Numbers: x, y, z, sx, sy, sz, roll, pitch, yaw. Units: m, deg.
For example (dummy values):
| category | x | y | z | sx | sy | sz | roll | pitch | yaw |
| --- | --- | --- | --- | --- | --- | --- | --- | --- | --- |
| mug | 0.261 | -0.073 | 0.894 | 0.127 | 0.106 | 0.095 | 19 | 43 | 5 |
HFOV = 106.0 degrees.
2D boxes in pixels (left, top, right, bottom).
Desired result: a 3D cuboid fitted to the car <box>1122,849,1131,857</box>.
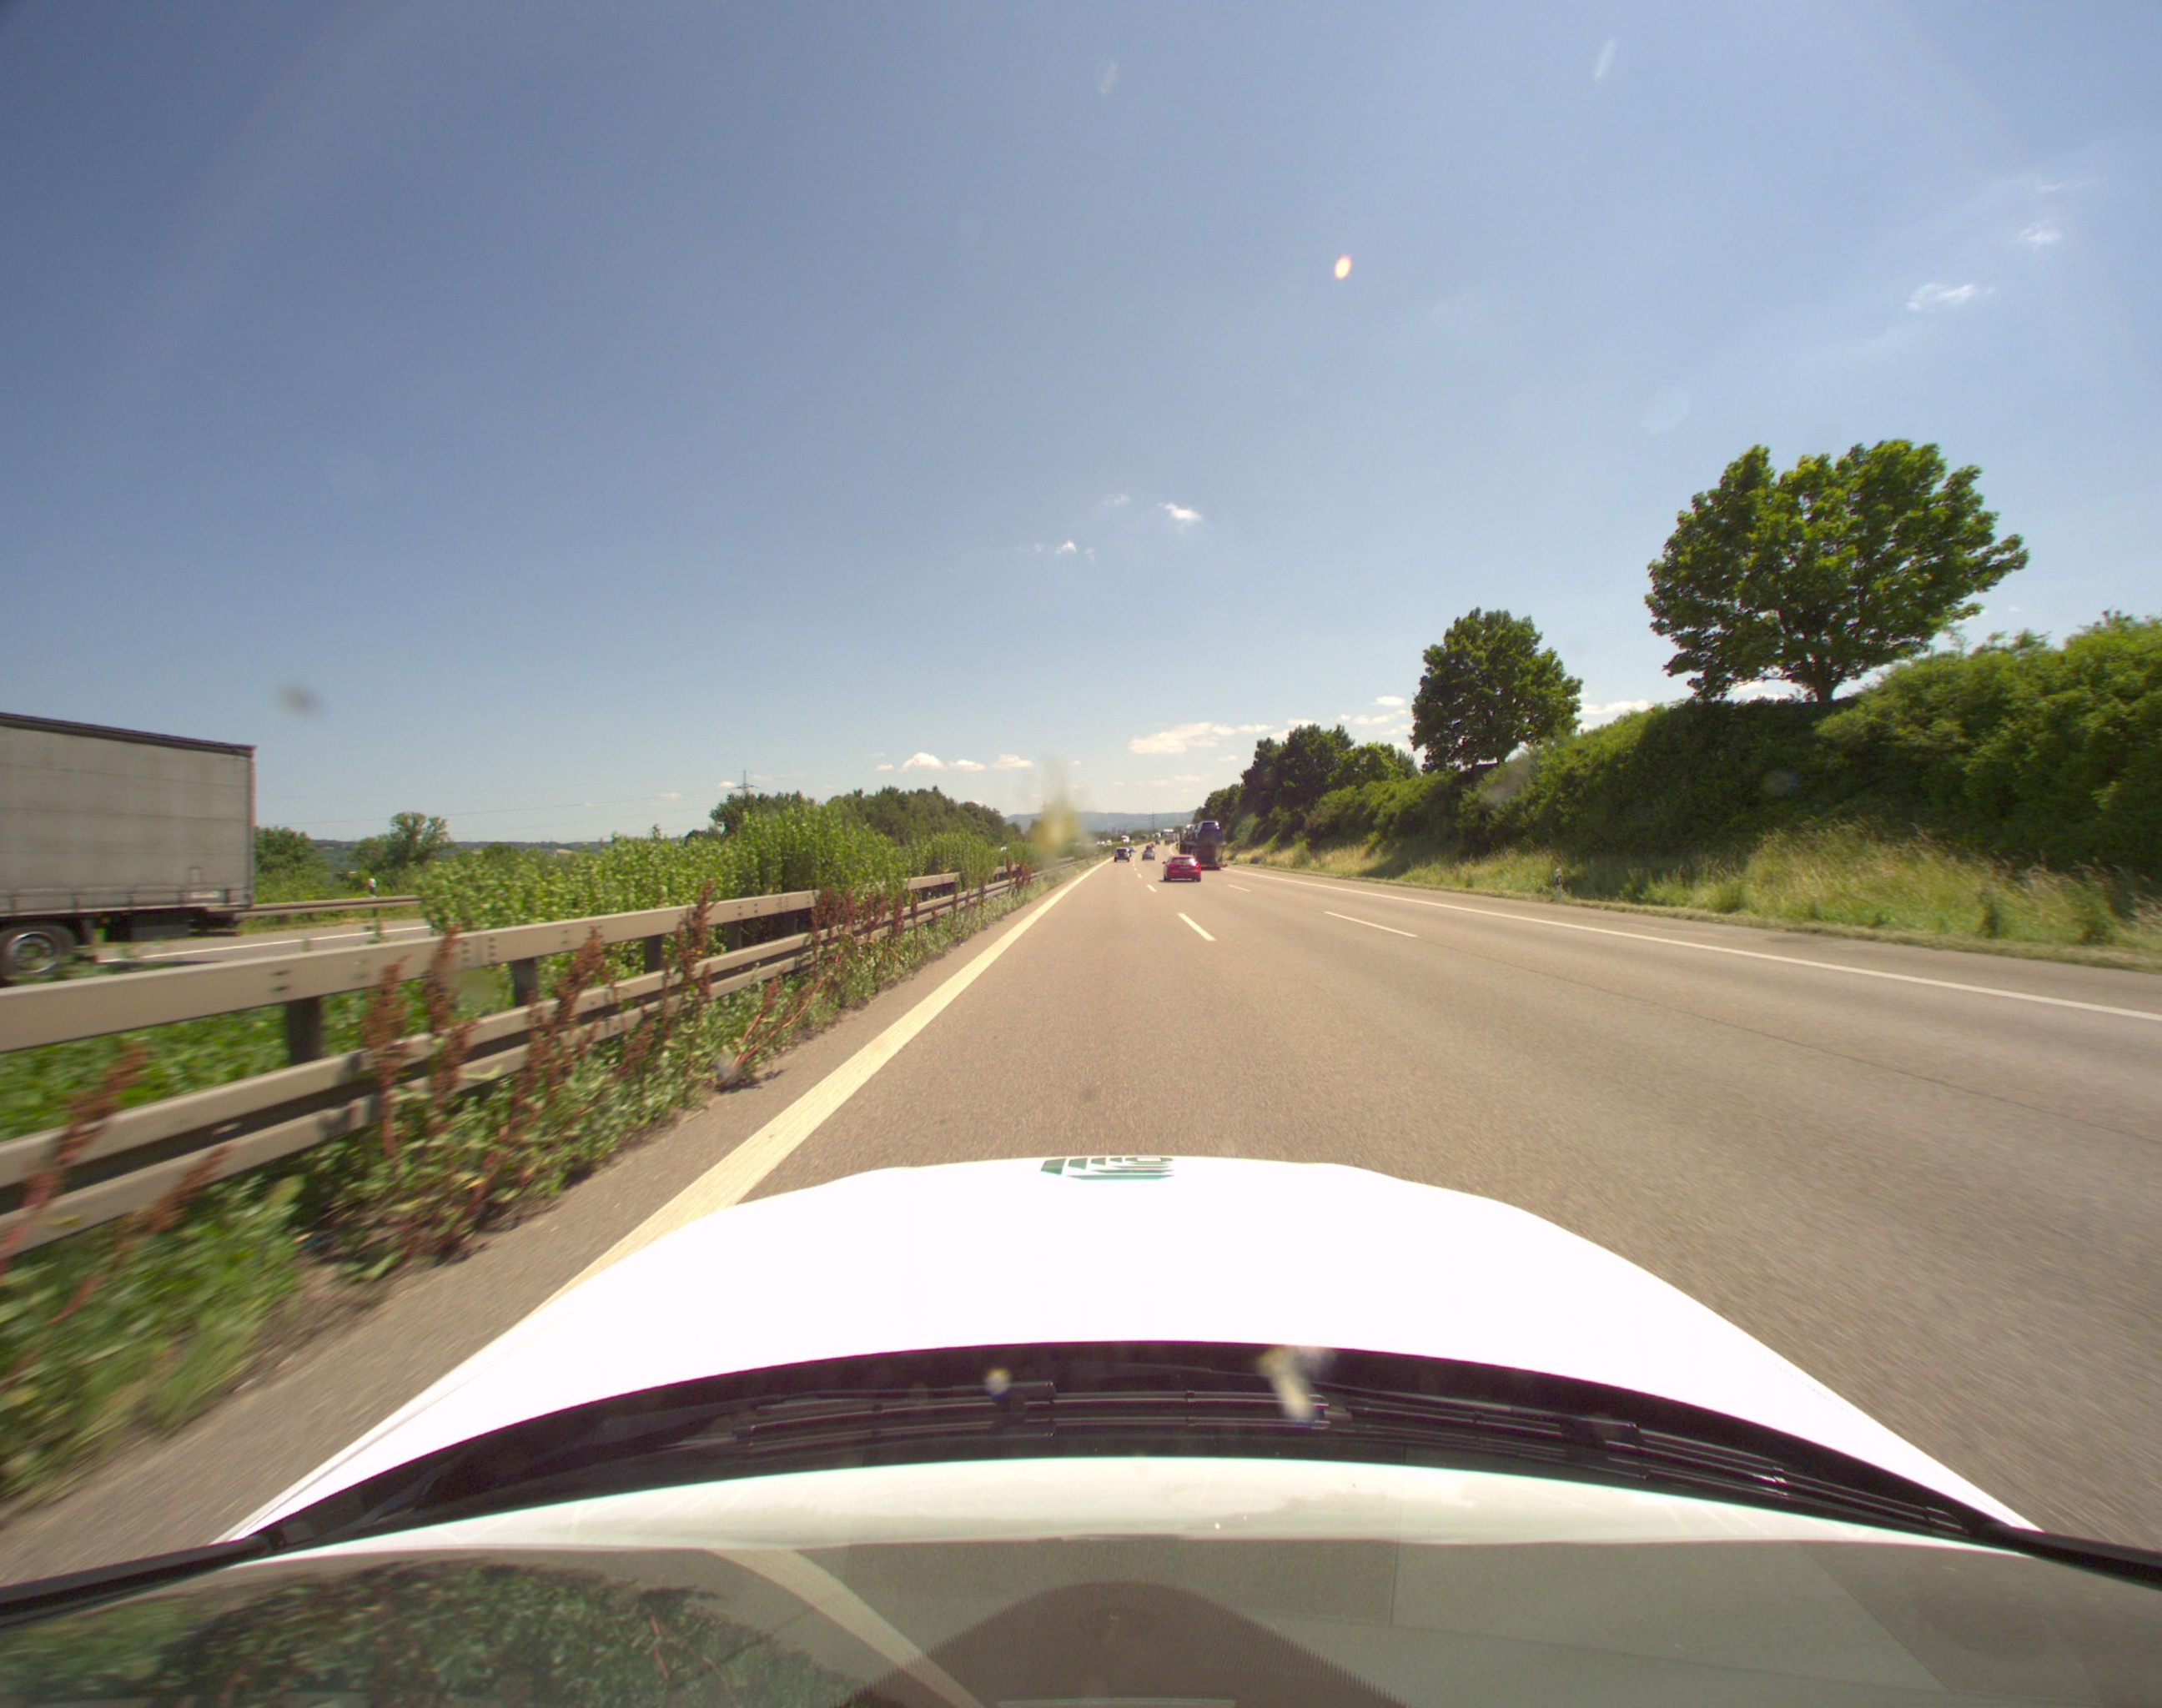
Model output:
| category | x | y | z | sx | sy | sz | roll | pitch | yaw |
| --- | --- | --- | --- | --- | --- | --- | --- | --- | --- |
| car | 8.337 | -0.195 | 149.012 | 1.448 | 1.267 | 3.342 | 0 | 0 | 5 |

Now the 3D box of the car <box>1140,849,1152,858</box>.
| category | x | y | z | sx | sy | sz | roll | pitch | yaw |
| --- | --- | --- | --- | --- | --- | --- | --- | --- | --- |
| car | 9.287 | -0.067 | 116.298 | 1.447 | 1.267 | 3.540 | 0 | 0 | 1 |

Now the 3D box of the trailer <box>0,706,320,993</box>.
| category | x | y | z | sx | sy | sz | roll | pitch | yaw |
| --- | --- | --- | --- | --- | --- | --- | --- | --- | --- |
| trailer | -16.966 | -0.036 | 9.224 | 2.956 | 4.076 | 14.053 | 0 | 0 | 3 |

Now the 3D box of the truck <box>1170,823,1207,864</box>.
| category | x | y | z | sx | sy | sz | roll | pitch | yaw |
| --- | --- | --- | --- | --- | --- | --- | --- | --- | --- |
| truck | 10.468 | -1.008 | 79.842 | 2.746 | 3.852 | 6.642 | 0 | 0 | -1 |

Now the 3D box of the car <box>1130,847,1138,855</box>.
| category | x | y | z | sx | sy | sz | roll | pitch | yaw |
| --- | --- | --- | --- | --- | --- | --- | --- | --- | --- |
| car | 12.762 | -0.725 | 196.632 | 1.689 | 2.013 | 3.829 | 0 | 0 | 7 |

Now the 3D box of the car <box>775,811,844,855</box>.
| category | x | y | z | sx | sy | sz | roll | pitch | yaw |
| --- | --- | --- | --- | --- | --- | --- | --- | --- | --- |
| car | -11.990 | -0.900 | 36.161 | 1.622 | 1.828 | 3.772 | 0 | 0 | 3 |

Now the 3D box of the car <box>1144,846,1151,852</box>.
| category | x | y | z | sx | sy | sz | roll | pitch | yaw |
| --- | --- | --- | --- | --- | --- | --- | --- | --- | --- |
| car | 18.054 | -1.318 | 220.942 | 1.627 | 1.704 | 3.407 | 0 | 0 | 7 |

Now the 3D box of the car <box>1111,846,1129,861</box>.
| category | x | y | z | sx | sy | sz | roll | pitch | yaw |
| --- | --- | --- | --- | --- | --- | --- | --- | --- | --- |
| car | 5.052 | -0.094 | 106.265 | 2.078 | 1.829 | 4.750 | 0 | 0 | -2 |

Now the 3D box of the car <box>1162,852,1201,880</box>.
| category | x | y | z | sx | sy | sz | roll | pitch | yaw |
| --- | --- | --- | --- | --- | --- | --- | --- | --- | --- |
| car | 5.293 | 0.606 | 43.304 | 1.679 | 1.379 | 3.950 | 0 | 0 | 2 |

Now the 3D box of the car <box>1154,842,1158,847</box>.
| category | x | y | z | sx | sy | sz | roll | pitch | yaw |
| --- | --- | --- | --- | --- | --- | --- | --- | --- | --- |
| car | 23.983 | -3.030 | 260.003 | 1.389 | 1.704 | 3.007 | 0 | 0 | 7 |

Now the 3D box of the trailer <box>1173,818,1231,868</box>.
| category | x | y | z | sx | sy | sz | roll | pitch | yaw |
| --- | --- | --- | --- | --- | --- | --- | --- | --- | --- |
| trailer | 10.442 | -0.919 | 72.115 | 2.846 | 3.993 | 15.394 | 0 | 0 | 0 |
